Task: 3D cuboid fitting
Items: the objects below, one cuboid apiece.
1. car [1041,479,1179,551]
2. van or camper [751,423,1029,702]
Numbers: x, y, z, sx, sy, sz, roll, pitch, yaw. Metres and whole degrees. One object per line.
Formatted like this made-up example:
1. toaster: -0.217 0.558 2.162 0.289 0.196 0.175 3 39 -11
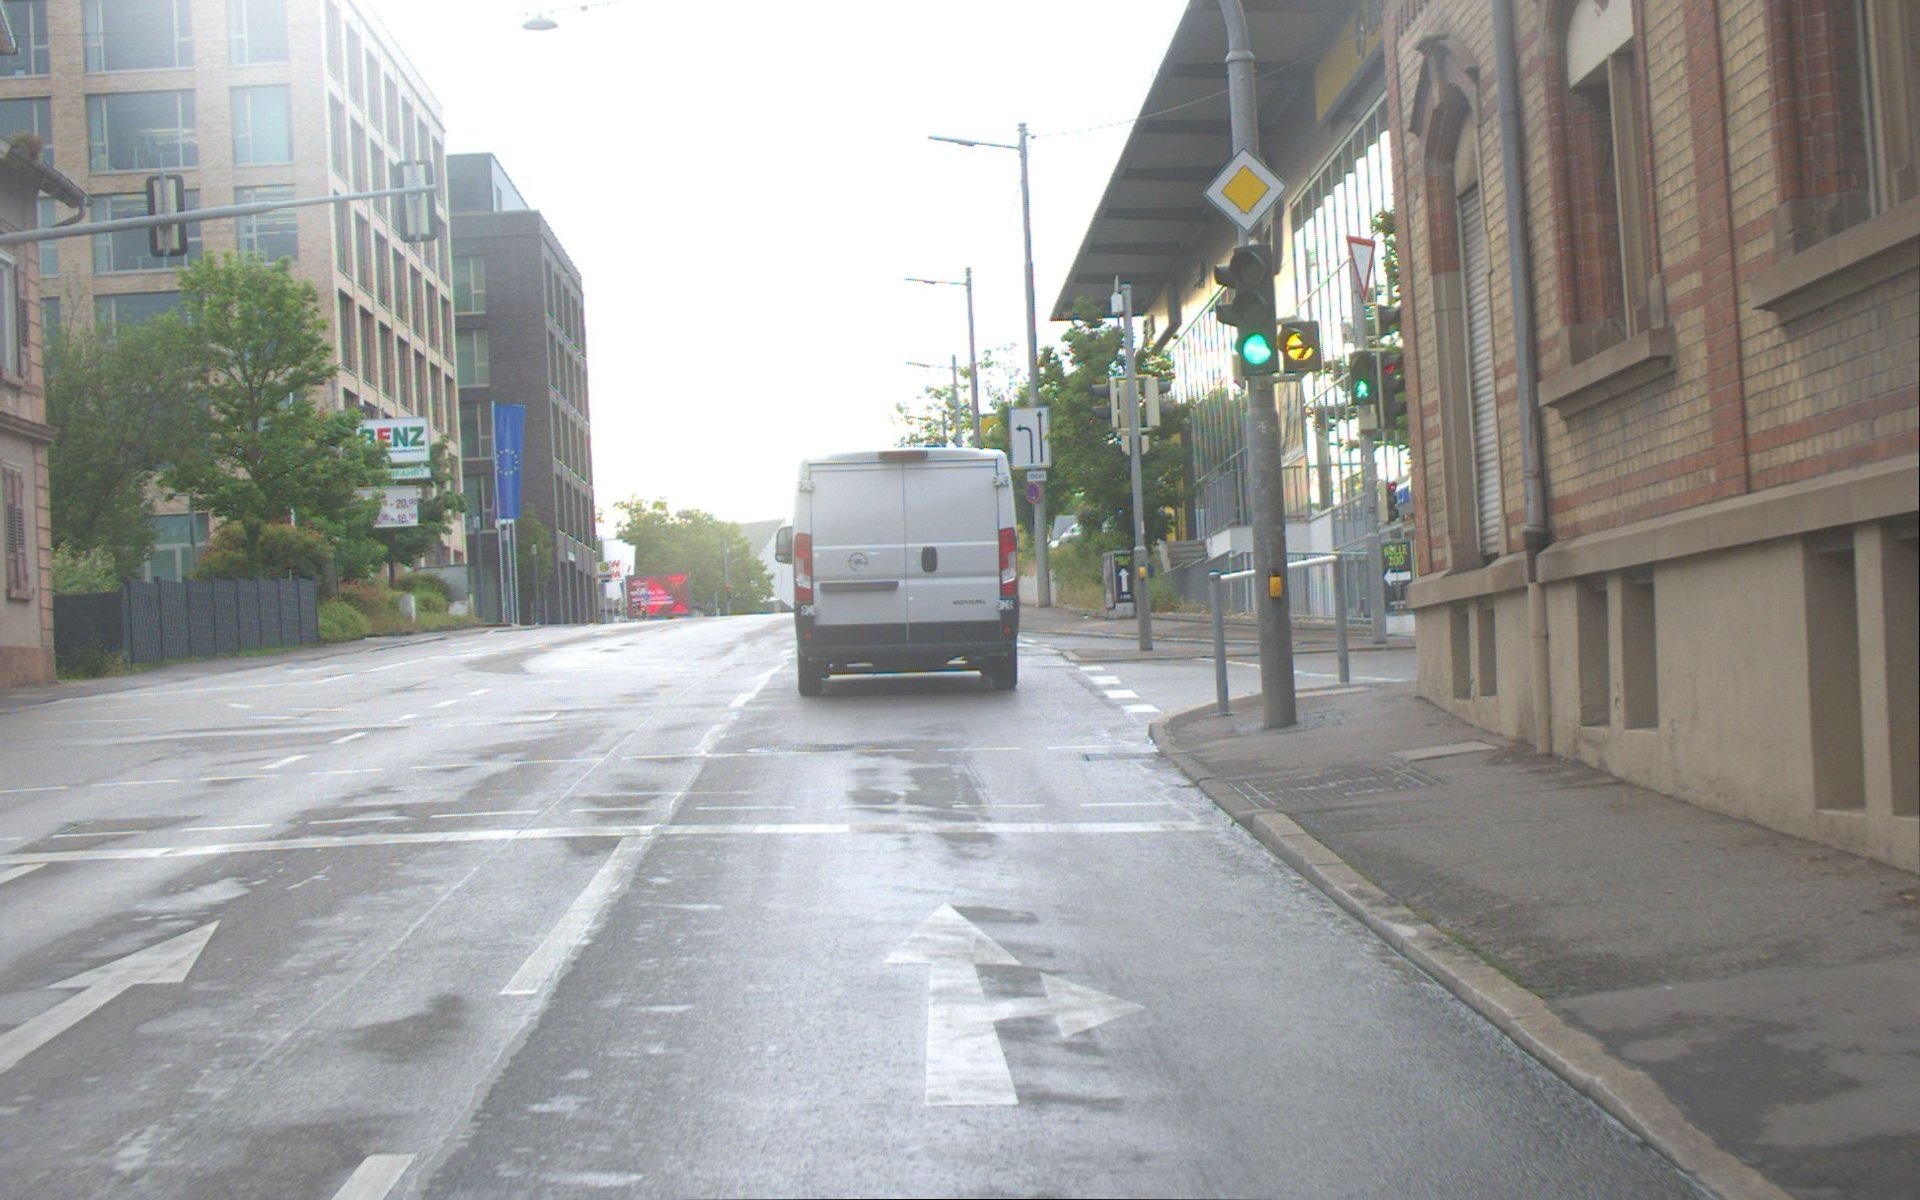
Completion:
1. car: 4.025 -2.263 91.321 1.996 1.705 4.423 -5 -1 25
2. van or camper: -0.646 -0.339 32.826 2.340 2.349 5.199 -3 0 -1
